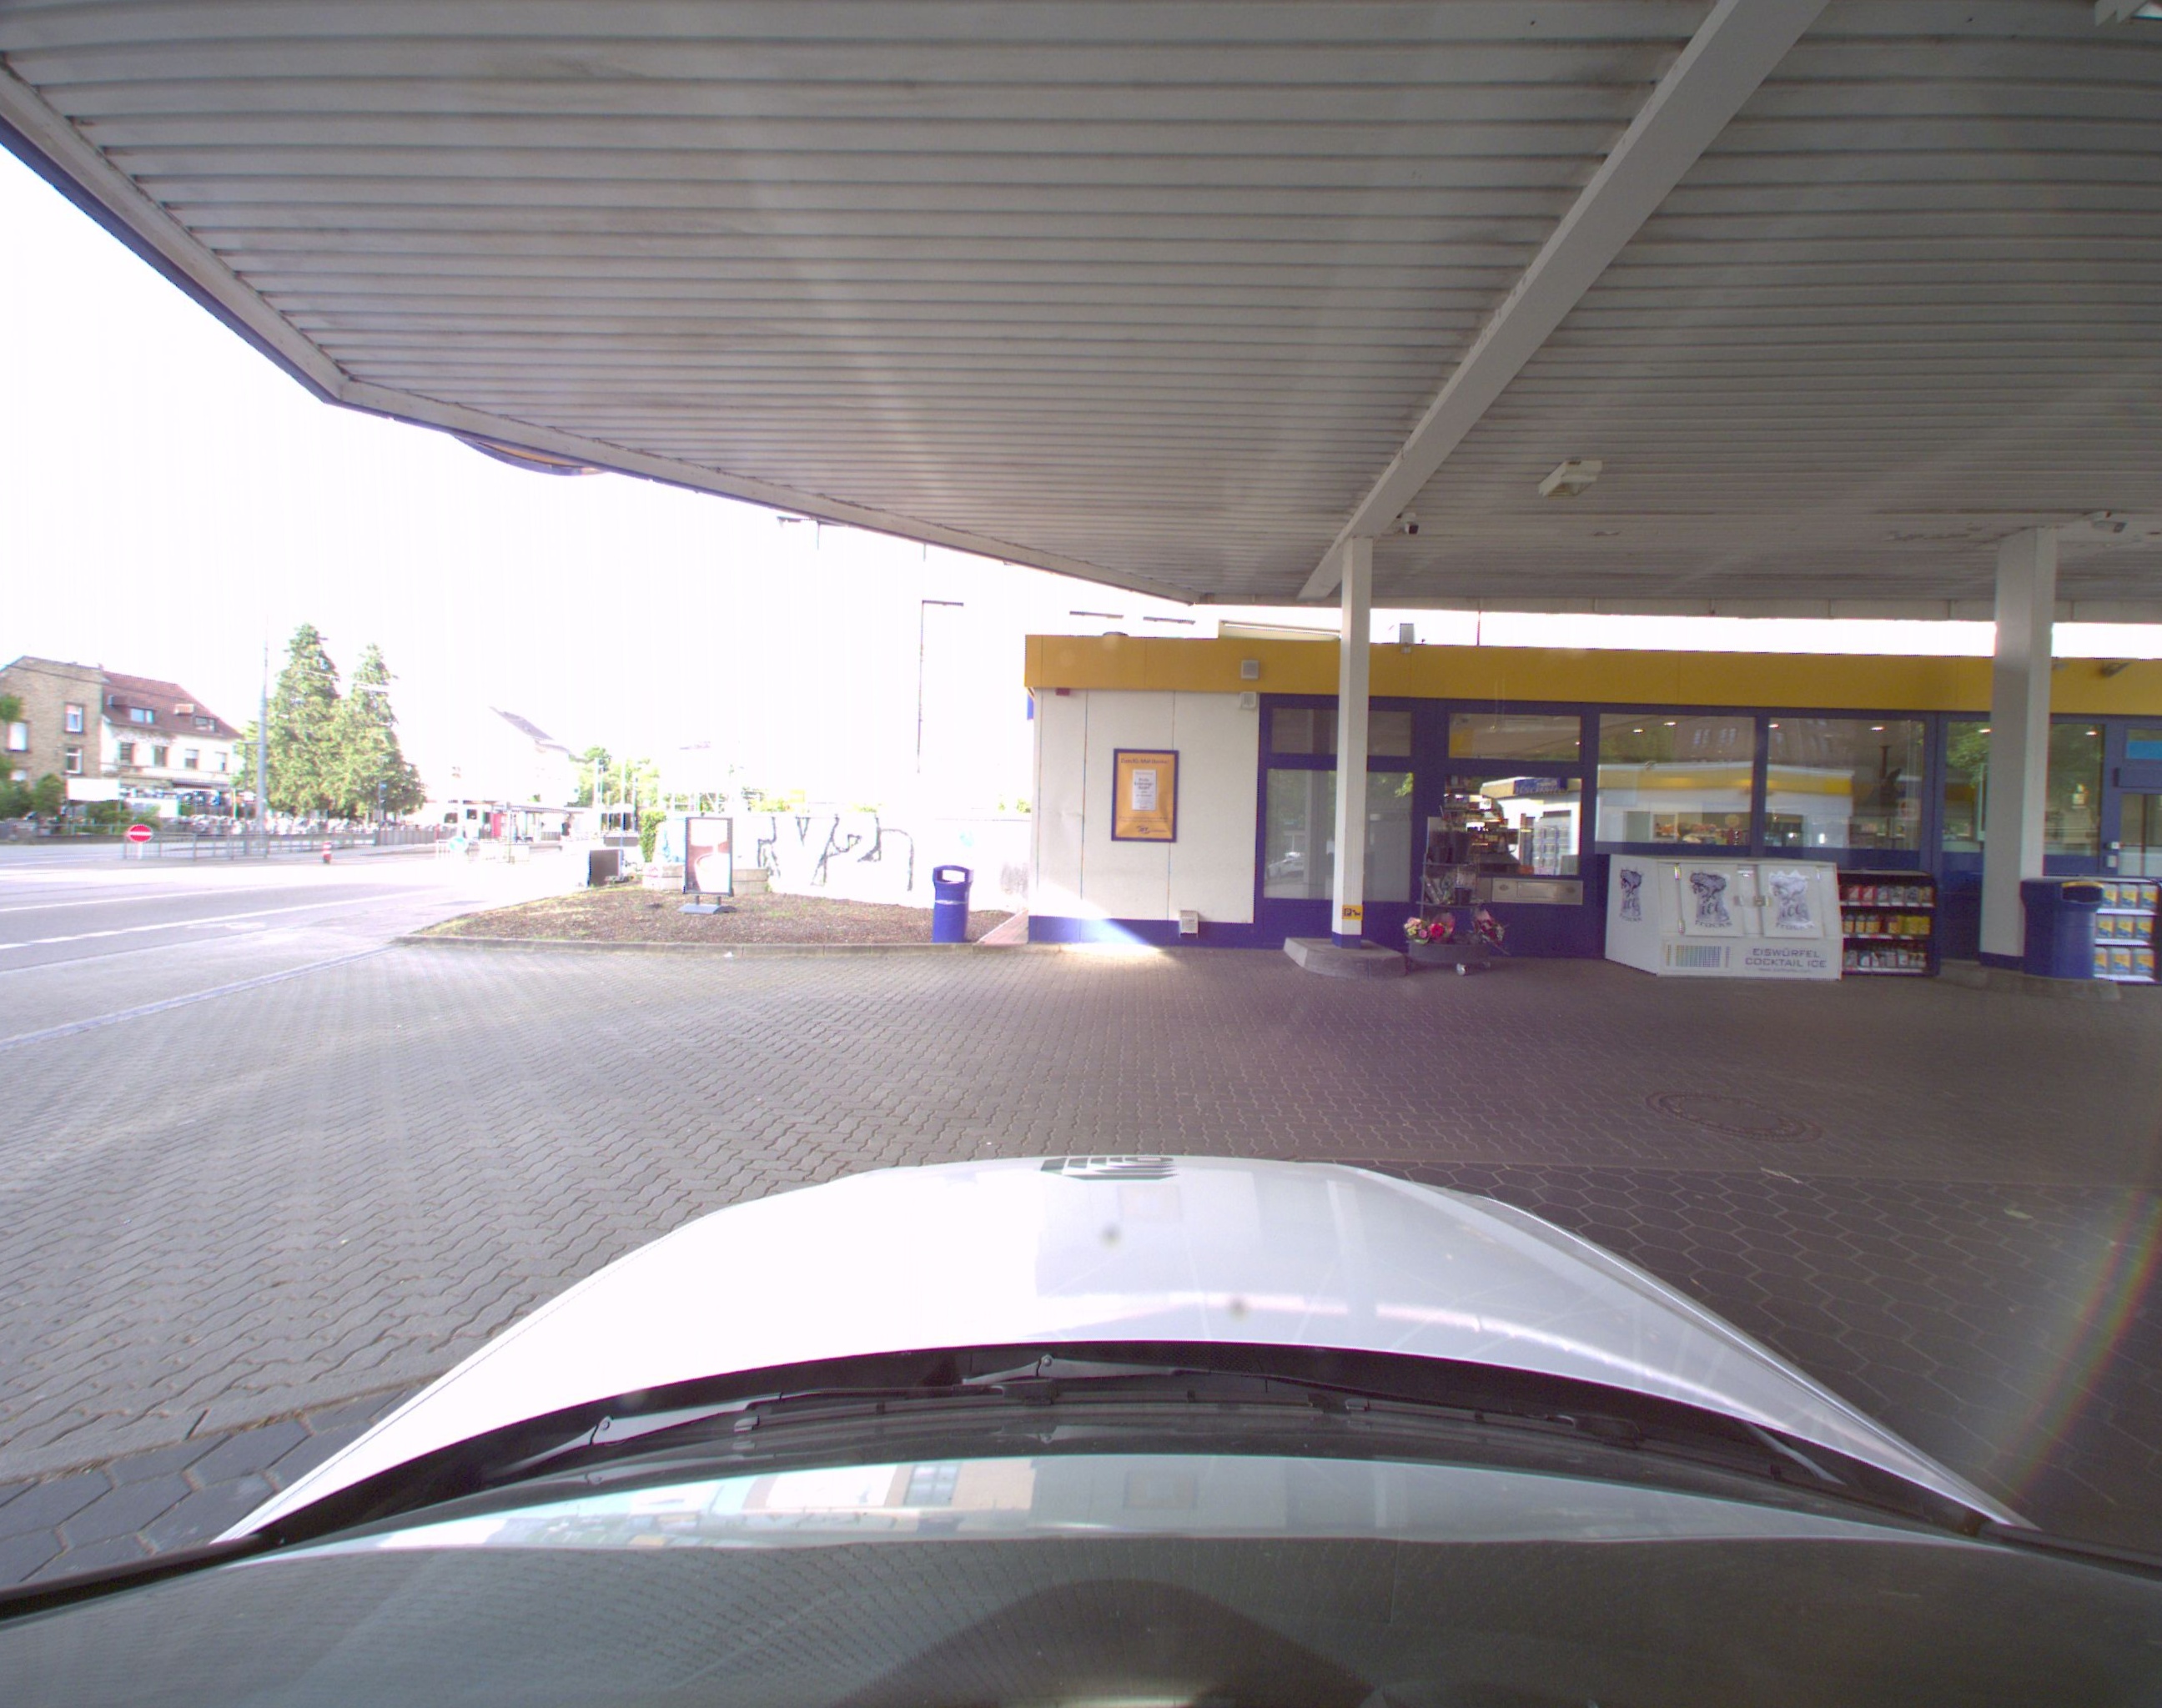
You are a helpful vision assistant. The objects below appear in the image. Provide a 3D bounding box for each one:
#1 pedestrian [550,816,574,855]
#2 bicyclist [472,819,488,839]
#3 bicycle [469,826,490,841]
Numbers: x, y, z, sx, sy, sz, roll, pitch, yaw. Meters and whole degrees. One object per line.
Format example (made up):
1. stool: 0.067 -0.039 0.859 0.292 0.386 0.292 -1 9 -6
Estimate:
1. pedestrian: -27.367 -0.975 42.983 0.806 2.014 0.847 0 -1 -11
2. bicyclist: -47.989 -1.992 65.002 0.680 1.534 1.079 0 1 -16
3. bicycle: -47.985 -1.651 65.006 0.680 1.222 1.909 0 2 -16
